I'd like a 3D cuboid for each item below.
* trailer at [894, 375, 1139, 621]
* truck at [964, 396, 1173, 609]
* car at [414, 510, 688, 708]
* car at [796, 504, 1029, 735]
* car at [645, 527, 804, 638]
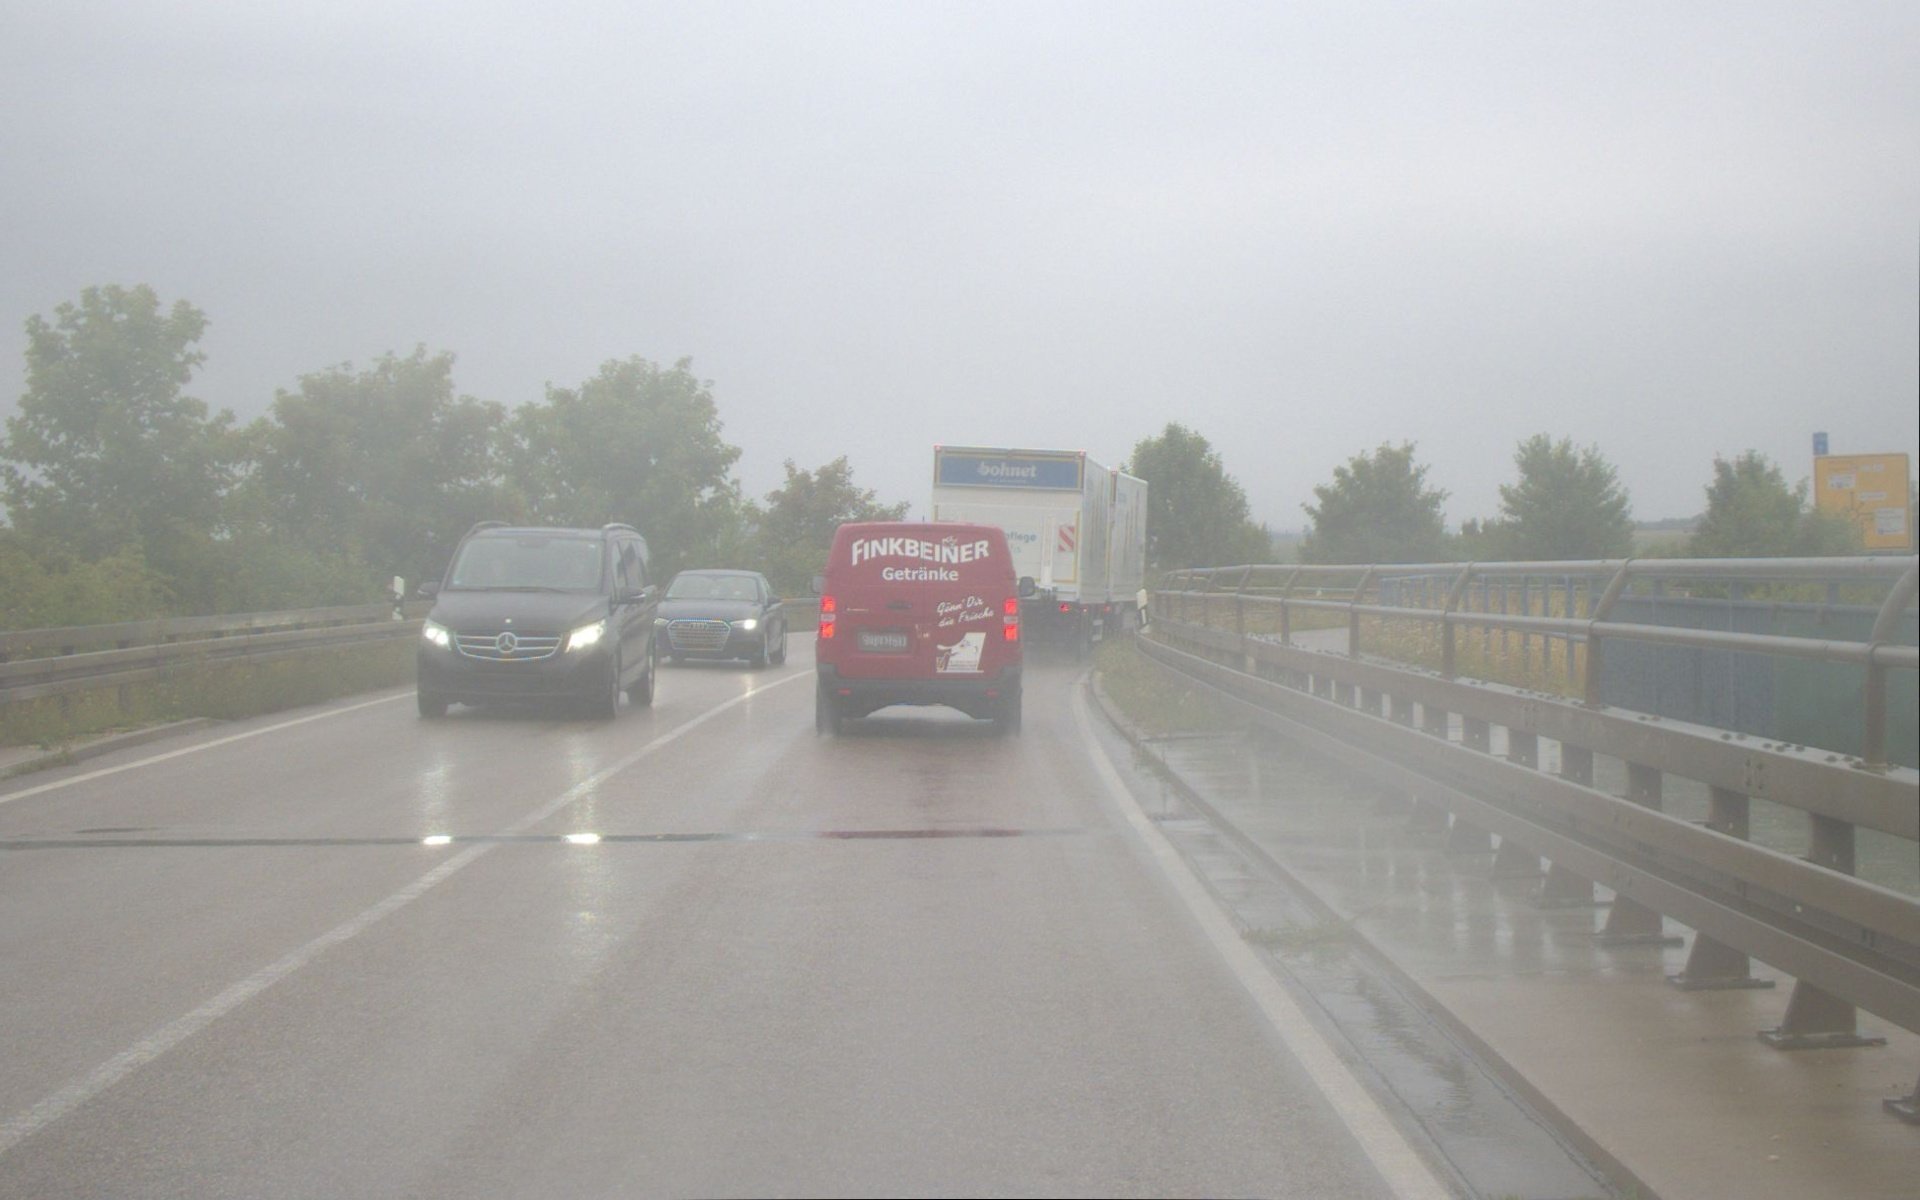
[{"bbox_3d":[1.147,-1.752,60.845,3.202,3.908,8.737,3,1,7],"label":"trailer"},{"bbox_3d":[2.322,-1.923,69.538,3.202,3.908,8.737,3,1,7],"label":"truck"},{"bbox_3d":[-4.022,0.029,34.618,2.066,1.830,4.931,-1,1,1],"label":"car"},{"bbox_3d":[-0.443,0.113,31.845,1.993,1.919,4.144,1,2,-1],"label":"car"},{"bbox_3d":[-3.421,-0.293,50.623,1.839,1.532,4.069,-1,1,3],"label":"car"}]
